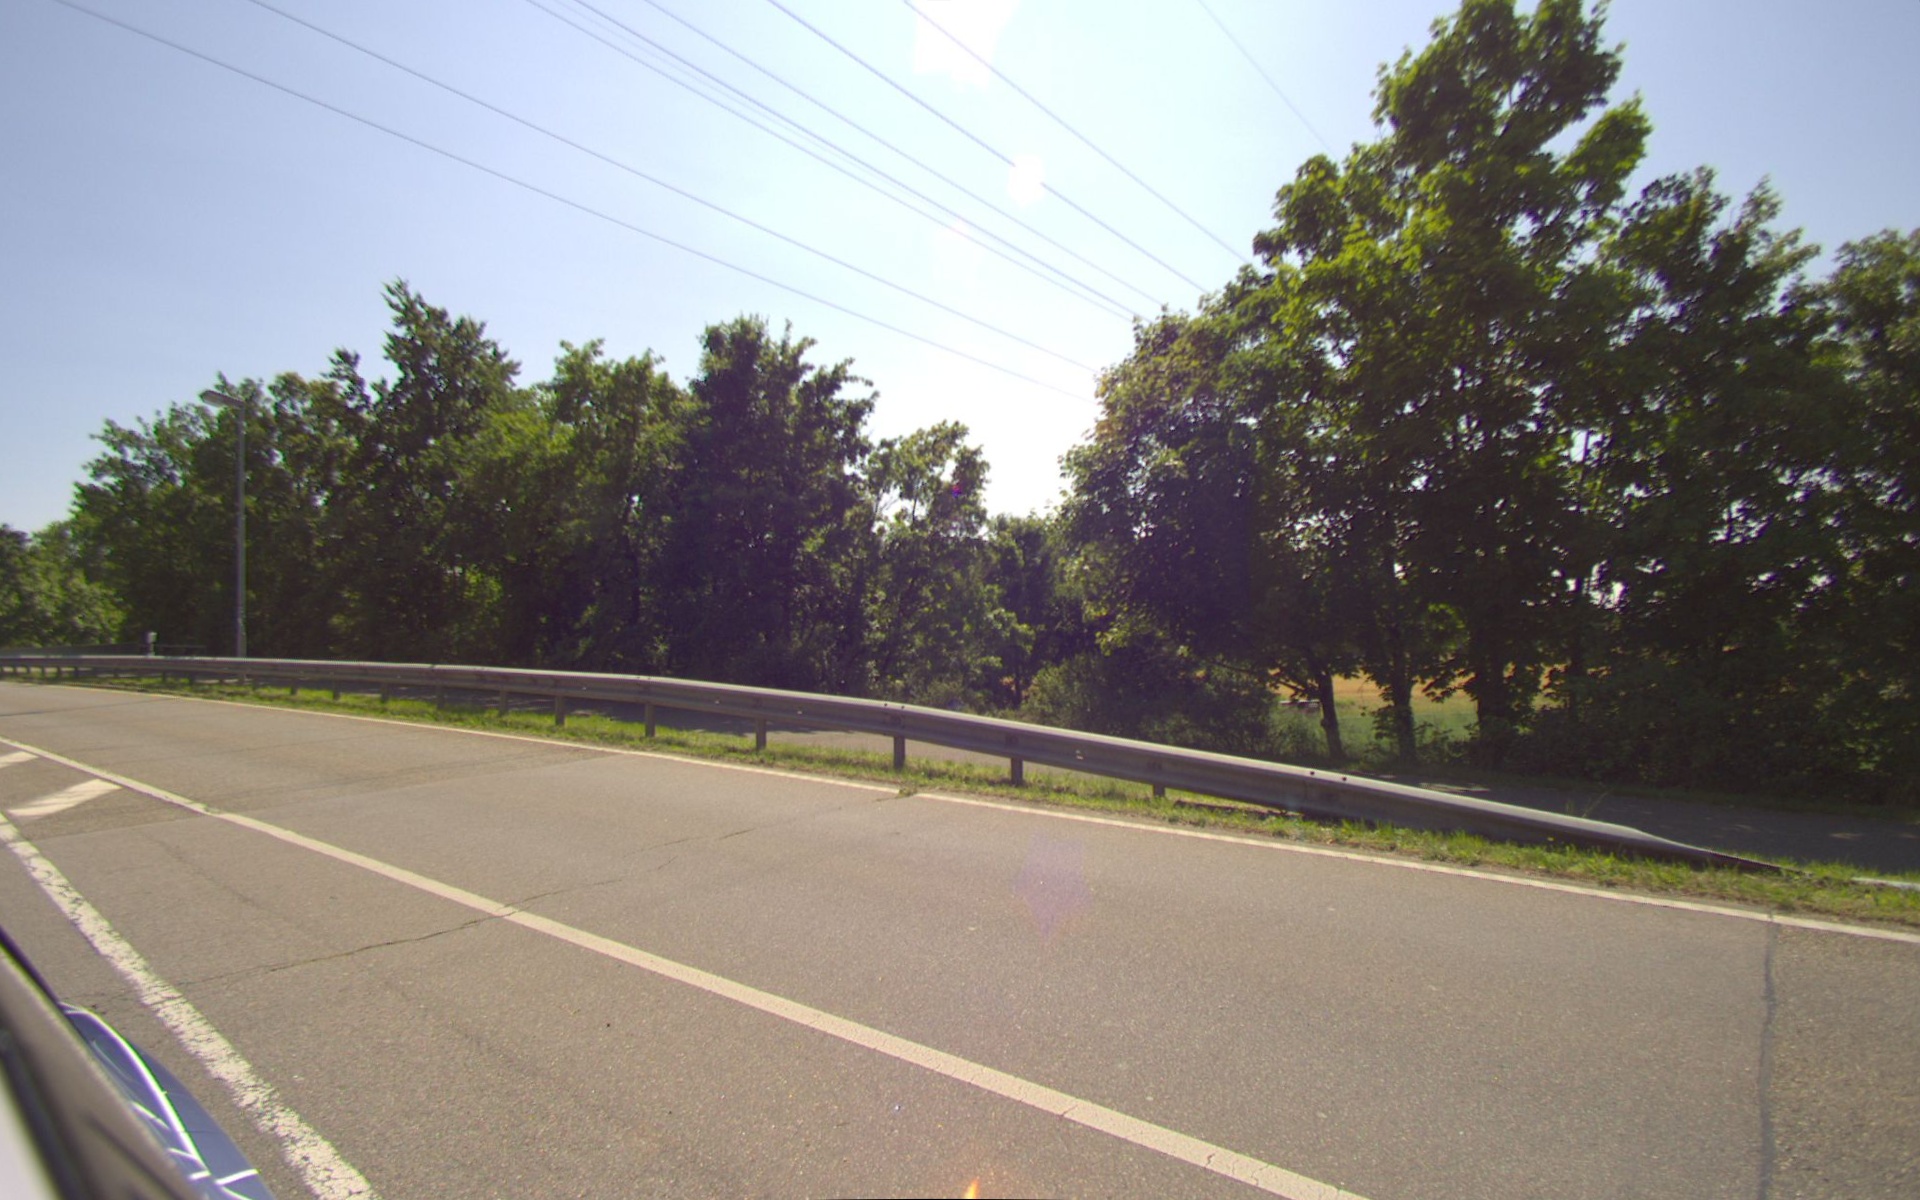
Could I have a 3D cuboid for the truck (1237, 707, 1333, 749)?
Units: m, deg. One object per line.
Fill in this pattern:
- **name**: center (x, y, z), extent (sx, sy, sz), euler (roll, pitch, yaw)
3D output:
- **truck**: center (23.274, 9.125, 72.480), extent (6.418, 2.342, 2.006), euler (-2, 1, -15)
